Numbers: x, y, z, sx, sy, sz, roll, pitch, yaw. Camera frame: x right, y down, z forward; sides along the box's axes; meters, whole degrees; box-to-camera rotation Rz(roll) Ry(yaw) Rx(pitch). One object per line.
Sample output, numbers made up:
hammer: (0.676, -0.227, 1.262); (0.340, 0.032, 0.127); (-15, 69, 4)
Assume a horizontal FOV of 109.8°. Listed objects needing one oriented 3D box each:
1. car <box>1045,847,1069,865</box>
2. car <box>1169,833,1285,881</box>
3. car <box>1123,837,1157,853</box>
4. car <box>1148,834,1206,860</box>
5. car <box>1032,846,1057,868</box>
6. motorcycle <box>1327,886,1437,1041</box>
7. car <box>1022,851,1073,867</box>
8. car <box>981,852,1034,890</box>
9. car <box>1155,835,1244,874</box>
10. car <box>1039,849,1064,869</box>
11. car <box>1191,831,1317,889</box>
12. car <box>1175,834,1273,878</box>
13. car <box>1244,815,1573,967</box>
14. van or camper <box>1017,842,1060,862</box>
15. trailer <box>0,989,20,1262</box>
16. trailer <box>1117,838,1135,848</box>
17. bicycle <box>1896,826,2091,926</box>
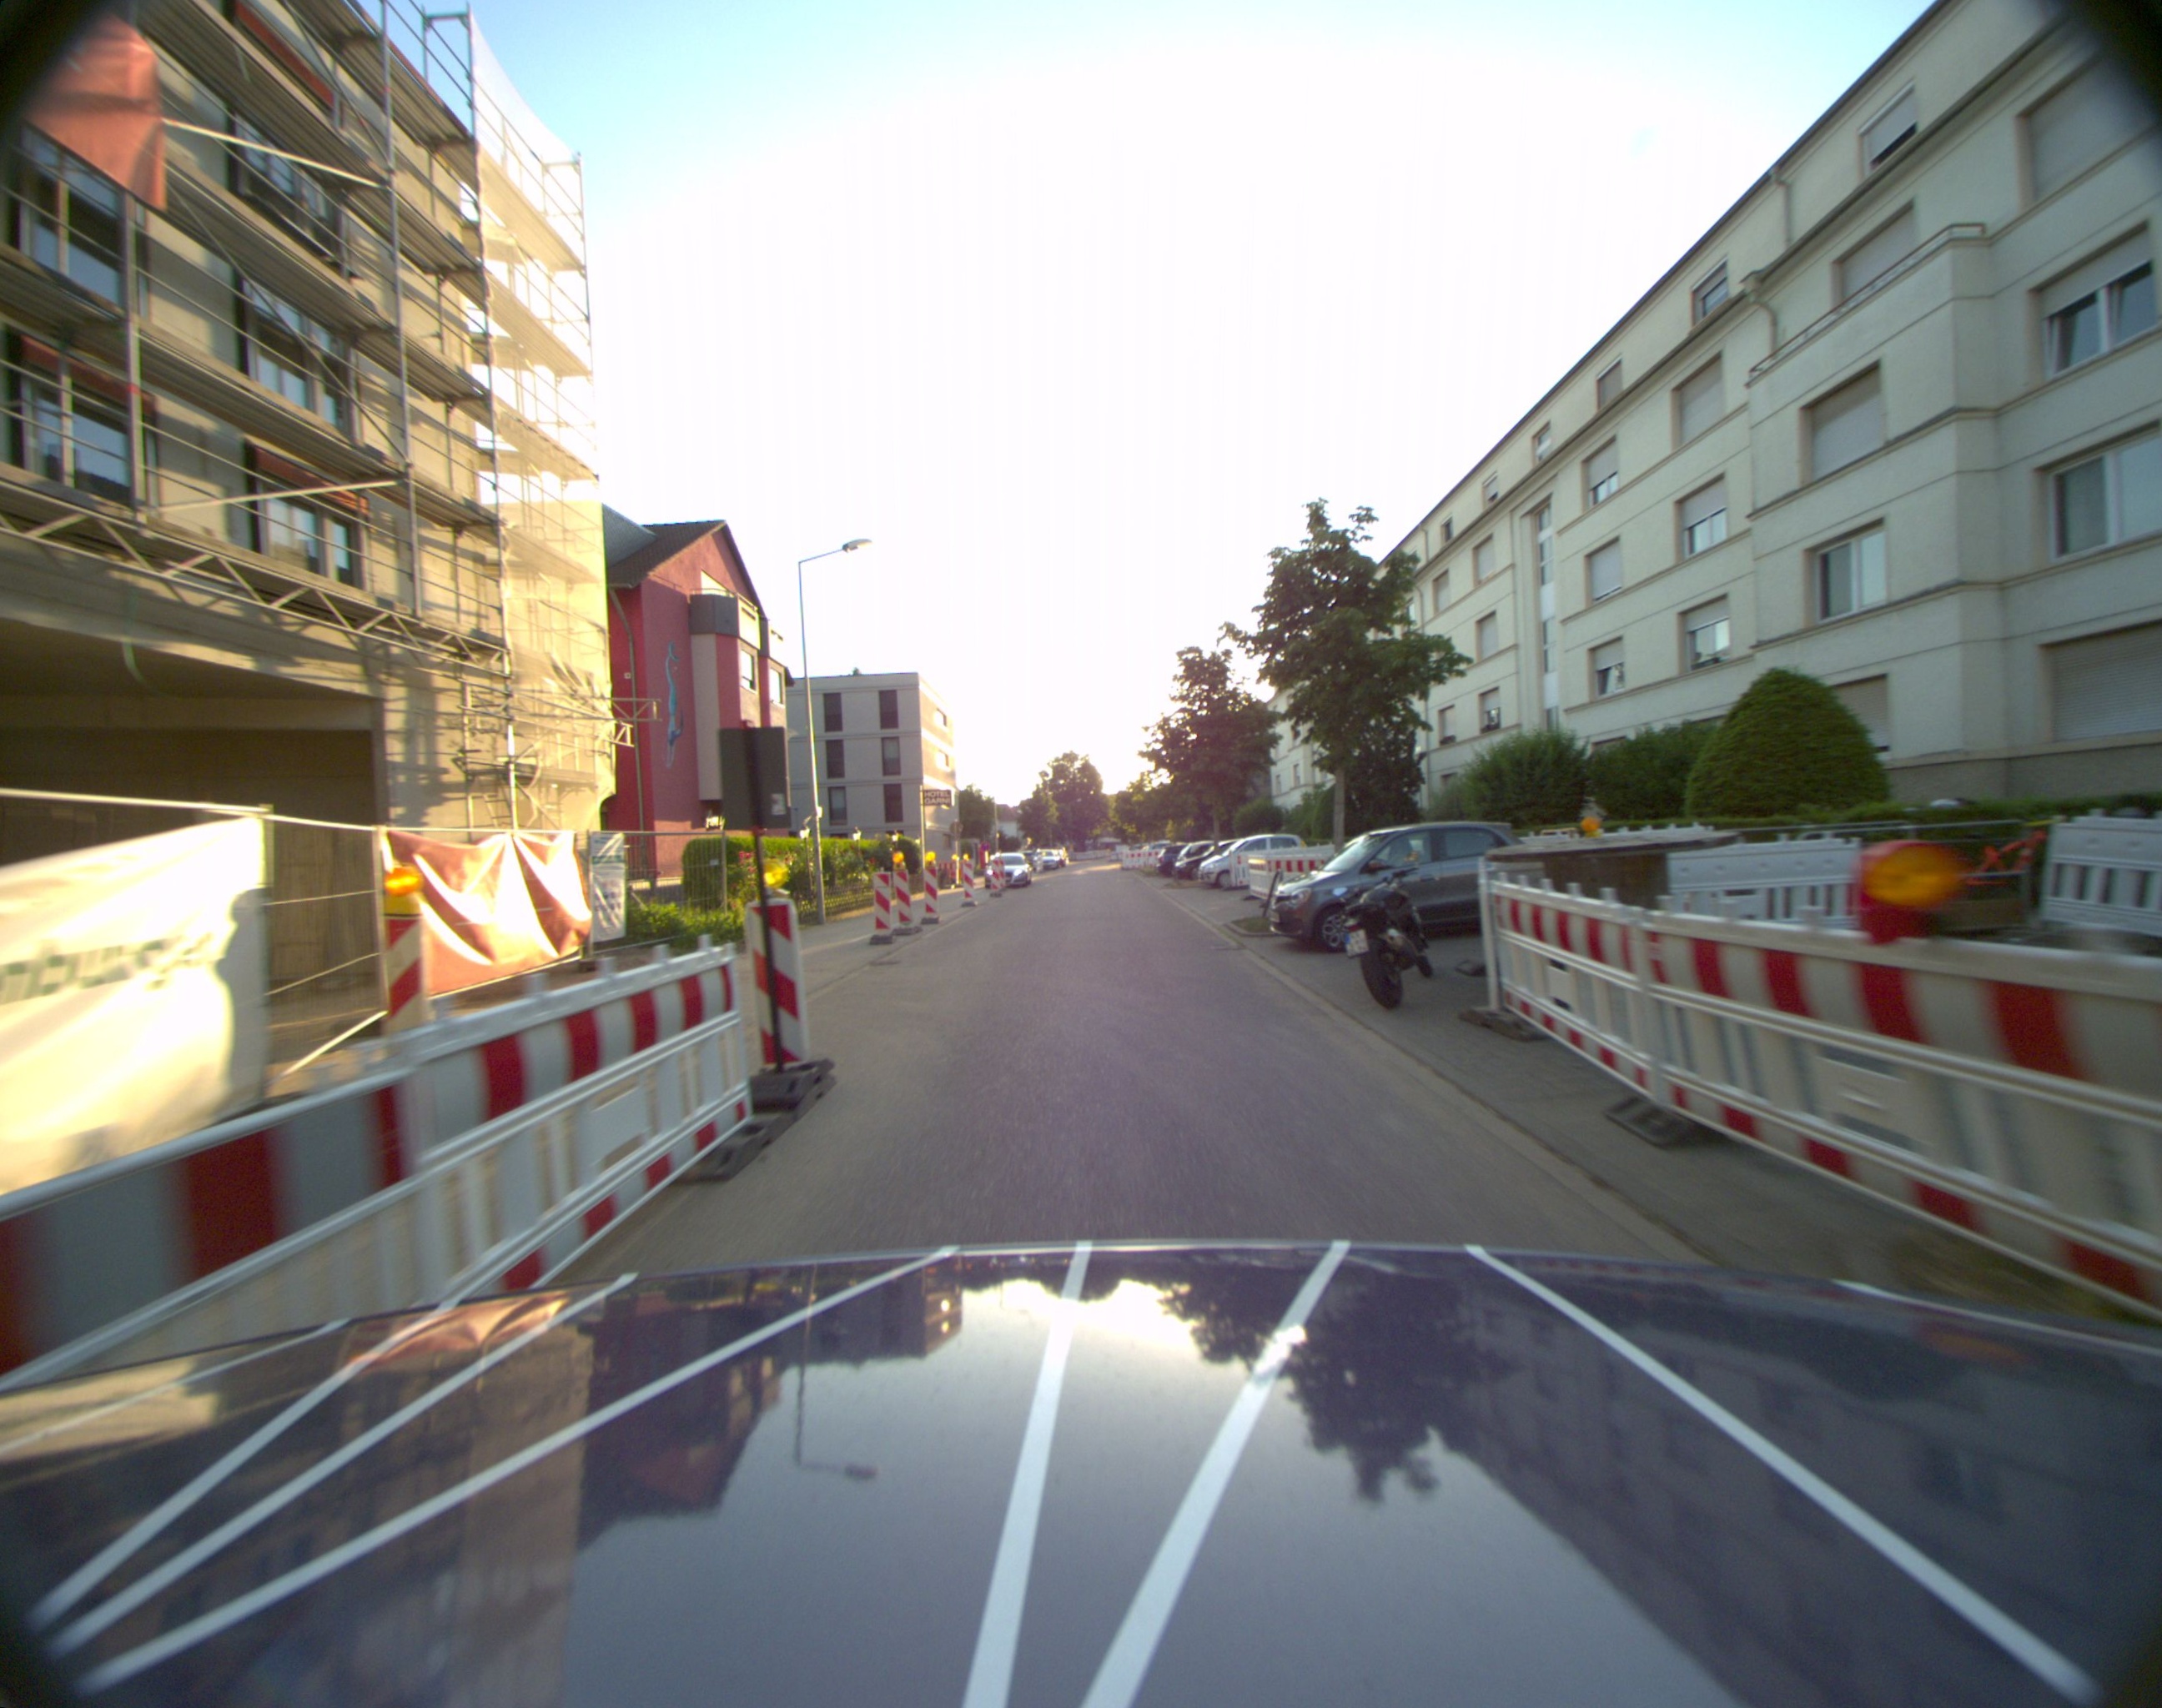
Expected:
car: (-2.066, 0.129, 66.174); (1.745, 1.461, 3.758); (-3, 1, 2)
car: (5.371, 0.089, 28.331); (3.987, 1.481, 1.728); (-4, 2, 3)
car: (8.713, -1.304, 111.965); (4.785, 2.058, 2.001); (-3, 1, 6)
car: (6.724, -0.498, 53.355); (3.709, 1.475, 1.728); (-4, 1, -1)
car: (-2.614, 0.177, 55.493); (1.618, 1.461, 3.996); (-3, 1, -1)
motorcycle: (2.862, 0.924, 7.070); (0.538, 1.015, 2.214); (-5, 1, 30)
car: (-3.247, 0.495, 74.548); (4.830, 1.390, 1.770); (-2, 0, 2)
car: (-3.081, 0.682, 32.590); (1.780, 1.389, 4.107); (-3, 1, 1)
car: (5.239, 0.011, 33.904); (3.686, 1.437, 1.728); (-4, 2, 3)
car: (-2.317, 0.349, 60.956); (1.802, 1.461, 3.842); (-3, 1, -1)
car: (5.457, 0.160, 24.217); (3.484, 1.557, 1.727); (-4, 2, -4)
car: (5.824, 0.055, 31.297); (3.686, 1.476, 1.728); (-4, 2, 2)
car: (4.276, 0.459, 10.341); (3.632, 1.548, 1.693); (-6, 1, 1)
van or camper: (-4.692, -0.219, 84.798); (4.660, 1.942, 2.094); (-3, 1, -2)
trailer: (-5.748, 0.550, 1.222); (1.998, 2.525, 4.186); (-3, 1, 2)
trailer: (10.386, -2.563, 174.621); (3.683, 2.057, 2.002); (-3, 1, 15)
bicycle: (9.928, 0.237, 8.293); (1.528, 0.995, 0.369); (-3, 1, 5)
